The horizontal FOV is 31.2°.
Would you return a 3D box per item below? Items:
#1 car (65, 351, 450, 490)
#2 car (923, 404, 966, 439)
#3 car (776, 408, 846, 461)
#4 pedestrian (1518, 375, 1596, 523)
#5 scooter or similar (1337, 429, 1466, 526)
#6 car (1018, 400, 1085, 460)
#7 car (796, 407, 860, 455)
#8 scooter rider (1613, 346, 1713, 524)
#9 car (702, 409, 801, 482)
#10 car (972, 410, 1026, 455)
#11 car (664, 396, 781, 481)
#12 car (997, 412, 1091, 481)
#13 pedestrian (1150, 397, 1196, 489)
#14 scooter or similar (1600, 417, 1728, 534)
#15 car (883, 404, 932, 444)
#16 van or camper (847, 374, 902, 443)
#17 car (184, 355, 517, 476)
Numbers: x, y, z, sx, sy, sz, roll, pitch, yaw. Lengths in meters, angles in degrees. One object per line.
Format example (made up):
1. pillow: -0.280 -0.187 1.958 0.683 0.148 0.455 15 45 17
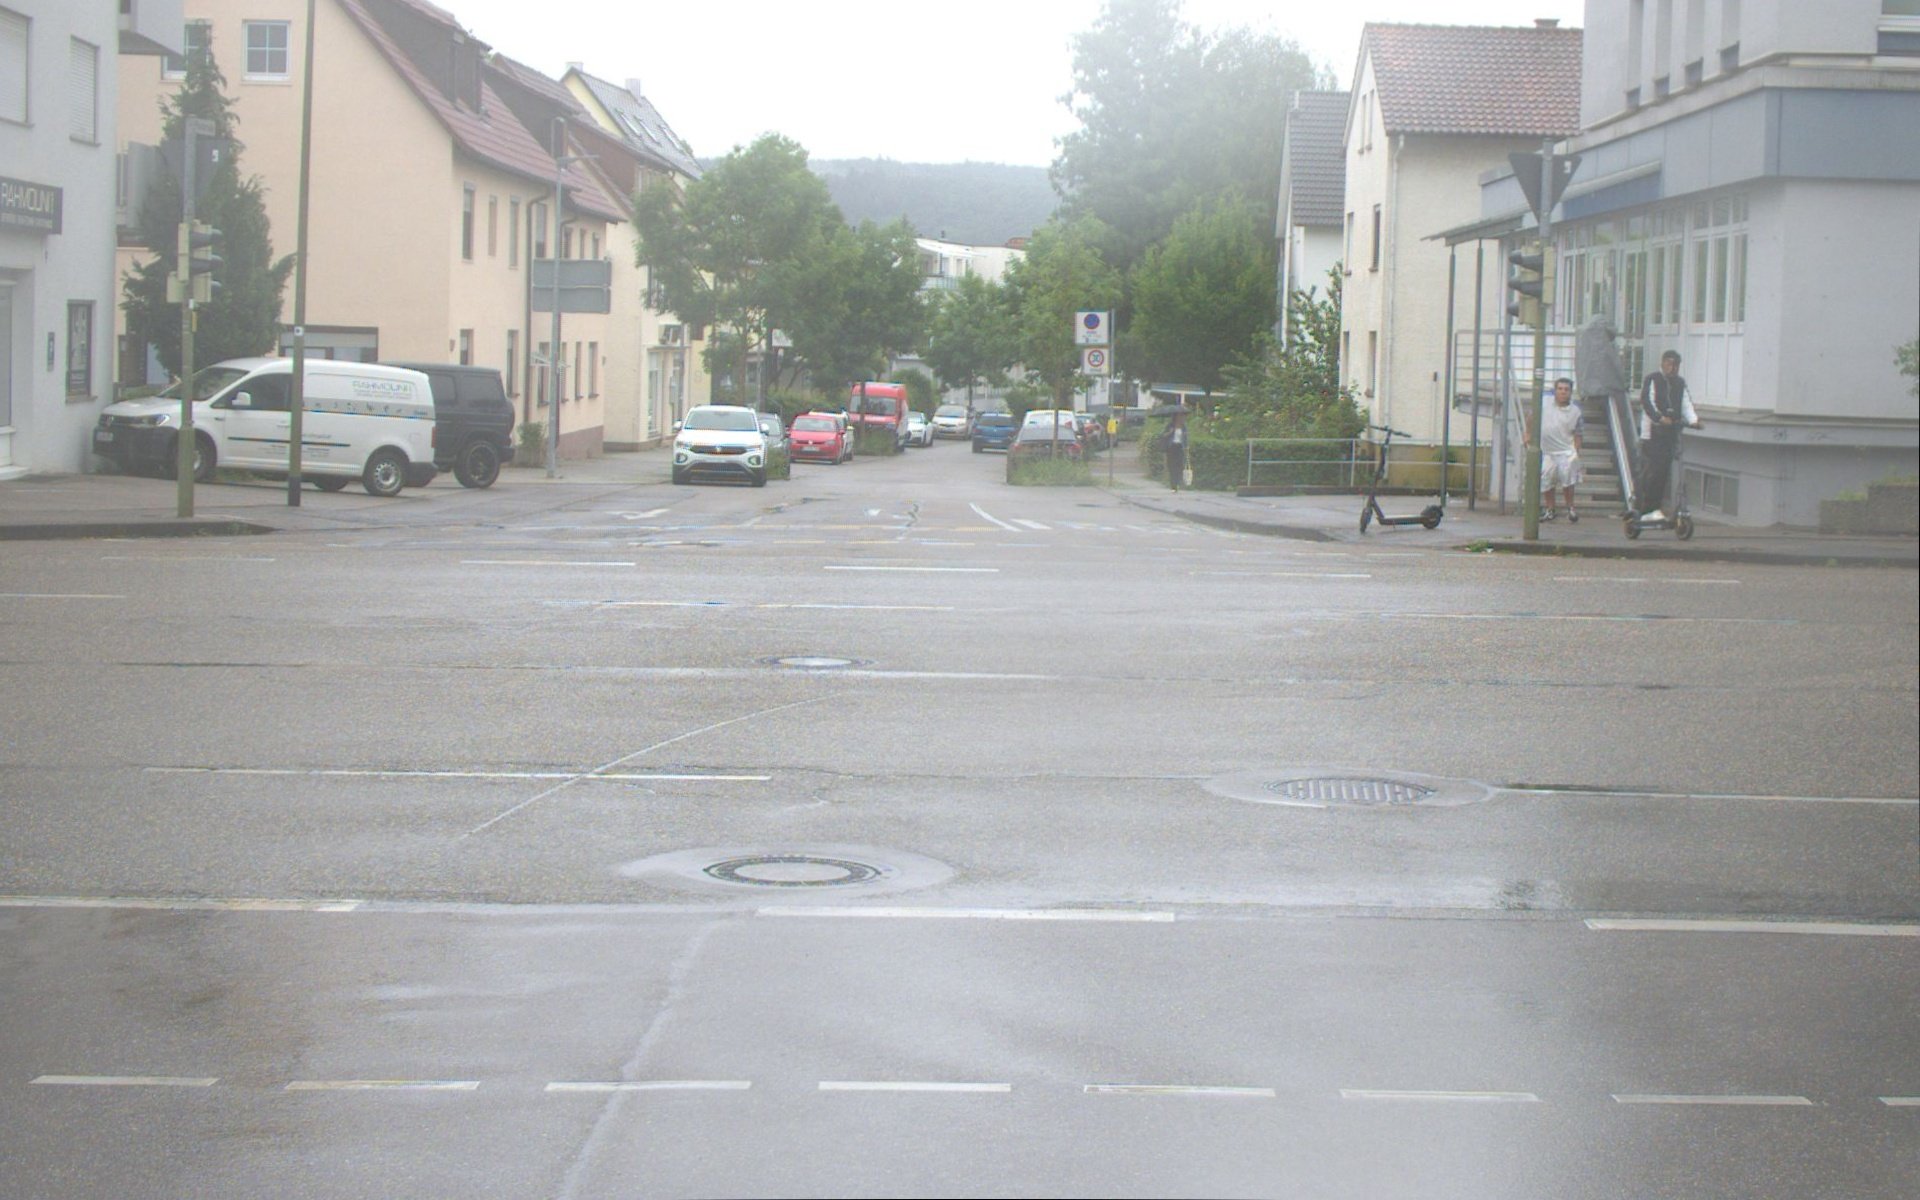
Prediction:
1. car: -9.677 -2.464 47.559 4.830 1.829 2.000 -2 3 -38
2. car: -0.680 -8.002 154.516 1.901 1.553 4.192 0 3 0
3. car: -4.498 -5.016 104.349 1.901 1.553 4.192 0 3 0
4. pedestrian: 6.855 -1.734 39.467 0.647 1.641 0.526 4 2 -6
5. scooter or similar: 4.948 -1.381 38.589 1.268 1.077 0.877 0 3 -4
6. car: 2.730 -5.089 103.186 1.901 1.739 4.192 0 3 0
7. car: -4.313 -5.538 112.747 1.901 1.553 4.192 0 3 0
8. scooter rider: 7.152 -1.677 34.997 0.752 1.789 0.673 0 3 -15
9. car: -4.779 -3.574 79.322 1.993 1.620 4.192 0 3 0
10. car: 1.467 -6.383 130.686 1.993 1.678 4.001 0 3 0
11. car: -4.662 -3.193 67.922 1.993 1.620 4.192 0 3 0
12. car: 1.960 -3.646 81.500 2.146 1.583 4.128 0 3 0
13. pedestrian: 4.423 -3.261 71.419 0.745 1.842 0.526 4 2 -5
14. scooter or similar: 7.157 -1.272 34.997 0.757 1.167 1.315 0 3 -15
15. car: -2.098 -7.088 138.539 1.901 1.553 4.192 0 3 0
16. van or camper: -3.140 -7.041 126.839 1.901 2.504 4.239 0 3 0
17. car: -9.632 -2.908 54.554 4.830 1.829 2.000 -2 3 -38
